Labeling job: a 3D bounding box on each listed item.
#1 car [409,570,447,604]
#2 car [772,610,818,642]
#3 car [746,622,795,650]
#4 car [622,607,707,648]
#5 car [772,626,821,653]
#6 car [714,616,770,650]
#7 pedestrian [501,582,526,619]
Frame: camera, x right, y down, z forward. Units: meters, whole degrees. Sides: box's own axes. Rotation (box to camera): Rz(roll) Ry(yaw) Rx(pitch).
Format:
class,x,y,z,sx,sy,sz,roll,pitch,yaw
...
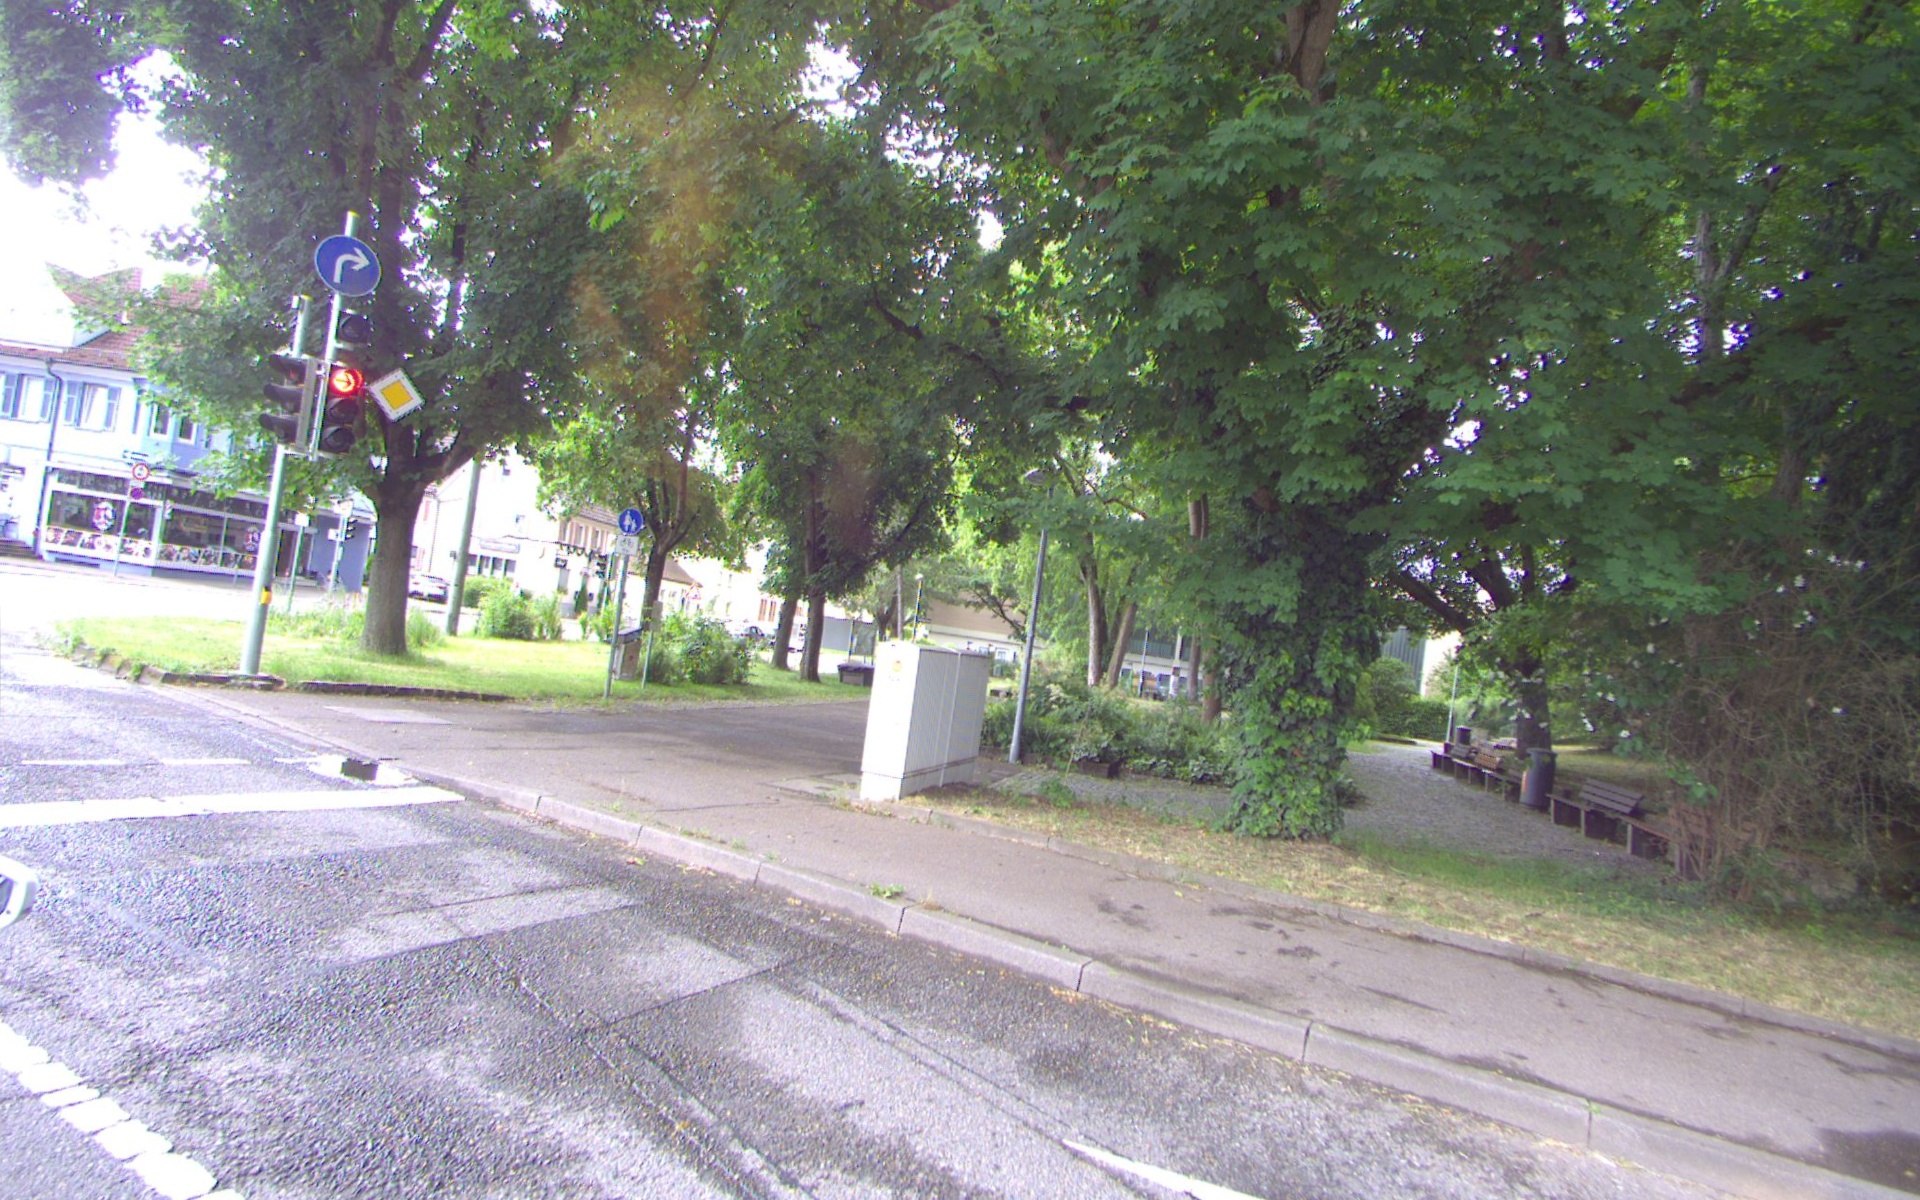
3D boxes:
class,x,y,z,sx,sy,sz,roll,pitch,yaw
car,-28.051,-0.701,53.121,1.554,1.478,3.417,9,-3,-27
car,-14.709,2.387,90.185,2.292,2.419,5.967,7,-2,6
car,-11.305,2.185,60.207,1.706,1.406,3.746,7,-2,6
car,-13.120,1.281,44.971,1.864,1.472,4.553,7,-3,6
car,-10.754,2.634,66.458,1.888,1.472,4.408,7,-3,6
car,-11.851,1.840,55.006,1.838,1.589,4.004,7,-2,4
pedestrian,-22.366,0.023,50.405,0.743,1.716,0.647,7,-1,3
